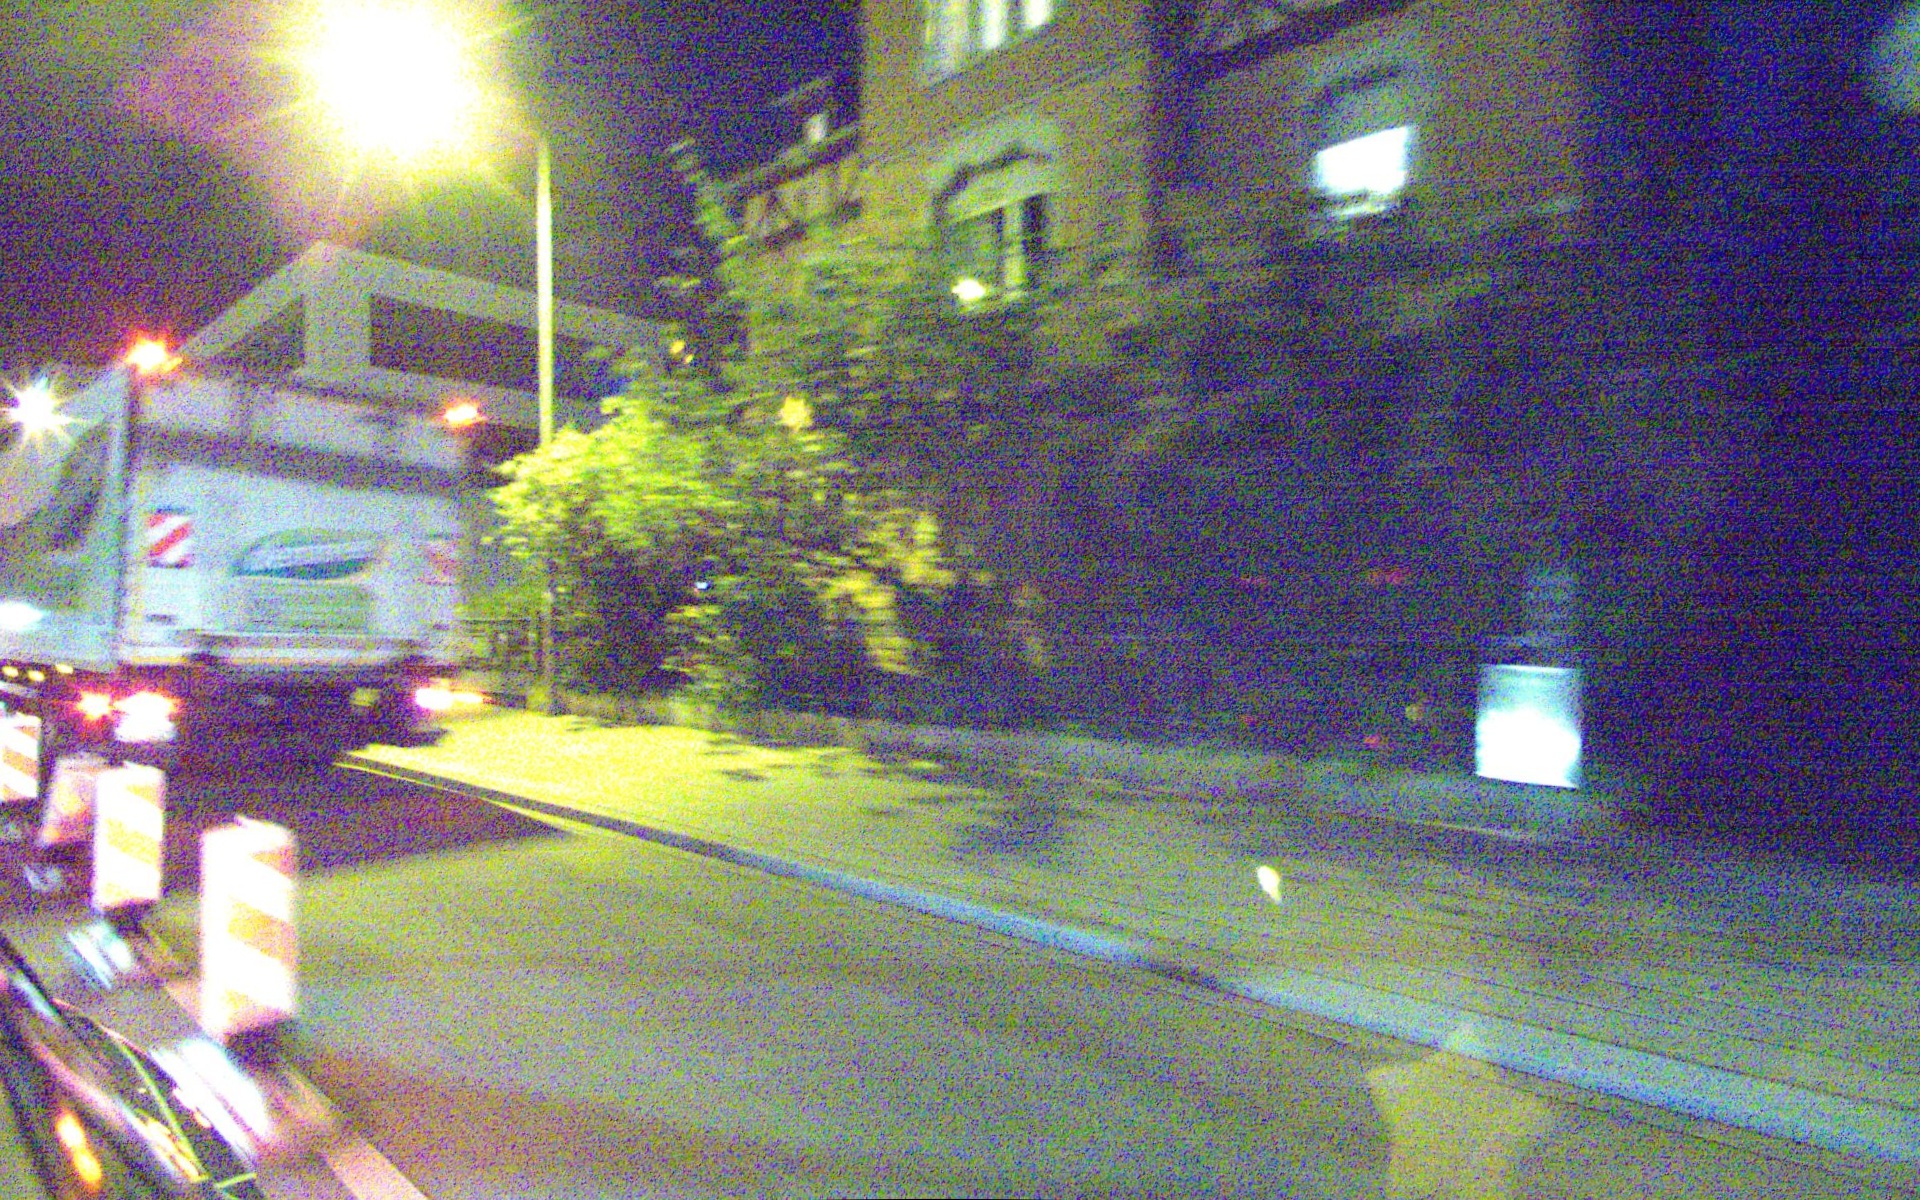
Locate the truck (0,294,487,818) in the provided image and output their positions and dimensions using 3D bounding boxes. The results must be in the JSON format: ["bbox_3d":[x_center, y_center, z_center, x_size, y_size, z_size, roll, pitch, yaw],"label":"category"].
[{"bbox_3d":[-9.082,-0.205,11.577,10.107,3.746,2.726,-1,-3,41],"label":"truck"}]
